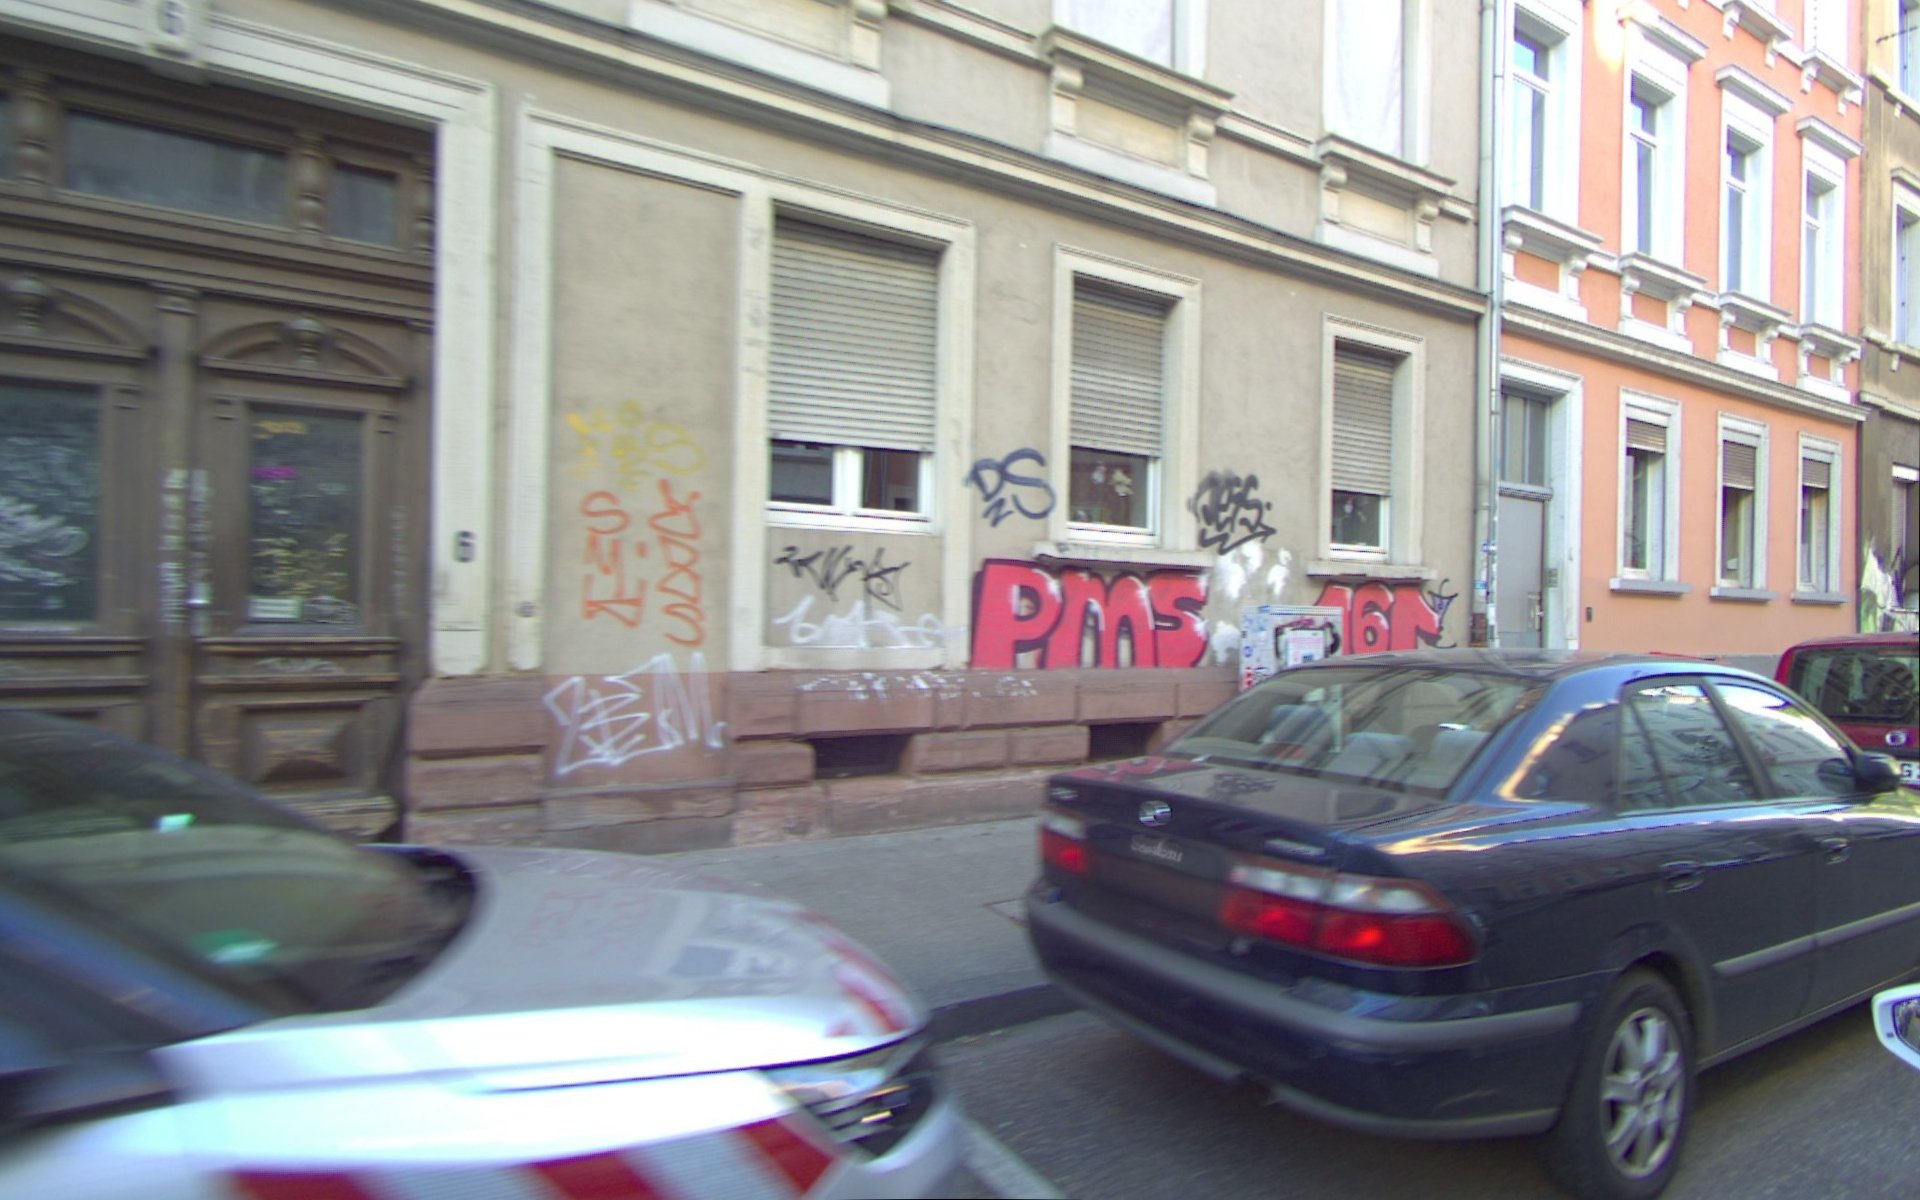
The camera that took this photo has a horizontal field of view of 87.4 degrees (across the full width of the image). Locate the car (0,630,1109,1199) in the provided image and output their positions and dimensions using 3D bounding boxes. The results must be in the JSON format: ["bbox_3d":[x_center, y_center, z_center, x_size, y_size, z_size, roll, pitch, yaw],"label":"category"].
[{"bbox_3d":[-1.825,0.772,1.485,3.840,1.449,1.667,1,-2,-28],"label":"car"}]

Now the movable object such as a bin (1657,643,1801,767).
[{"bbox_3d":[7.515,1.021,9.842,0.707,1.141,0.832,1,-6,-28],"label":"movable object such as a bin"}]

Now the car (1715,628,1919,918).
[{"bbox_3d":[6.477,0.963,6.377,3.341,1.550,1.596,1,-3,-32],"label":"car"}]

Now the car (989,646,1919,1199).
[{"bbox_3d":[2.350,0.916,3.850,4.252,1.432,1.698,1,-2,-31],"label":"car"}]
